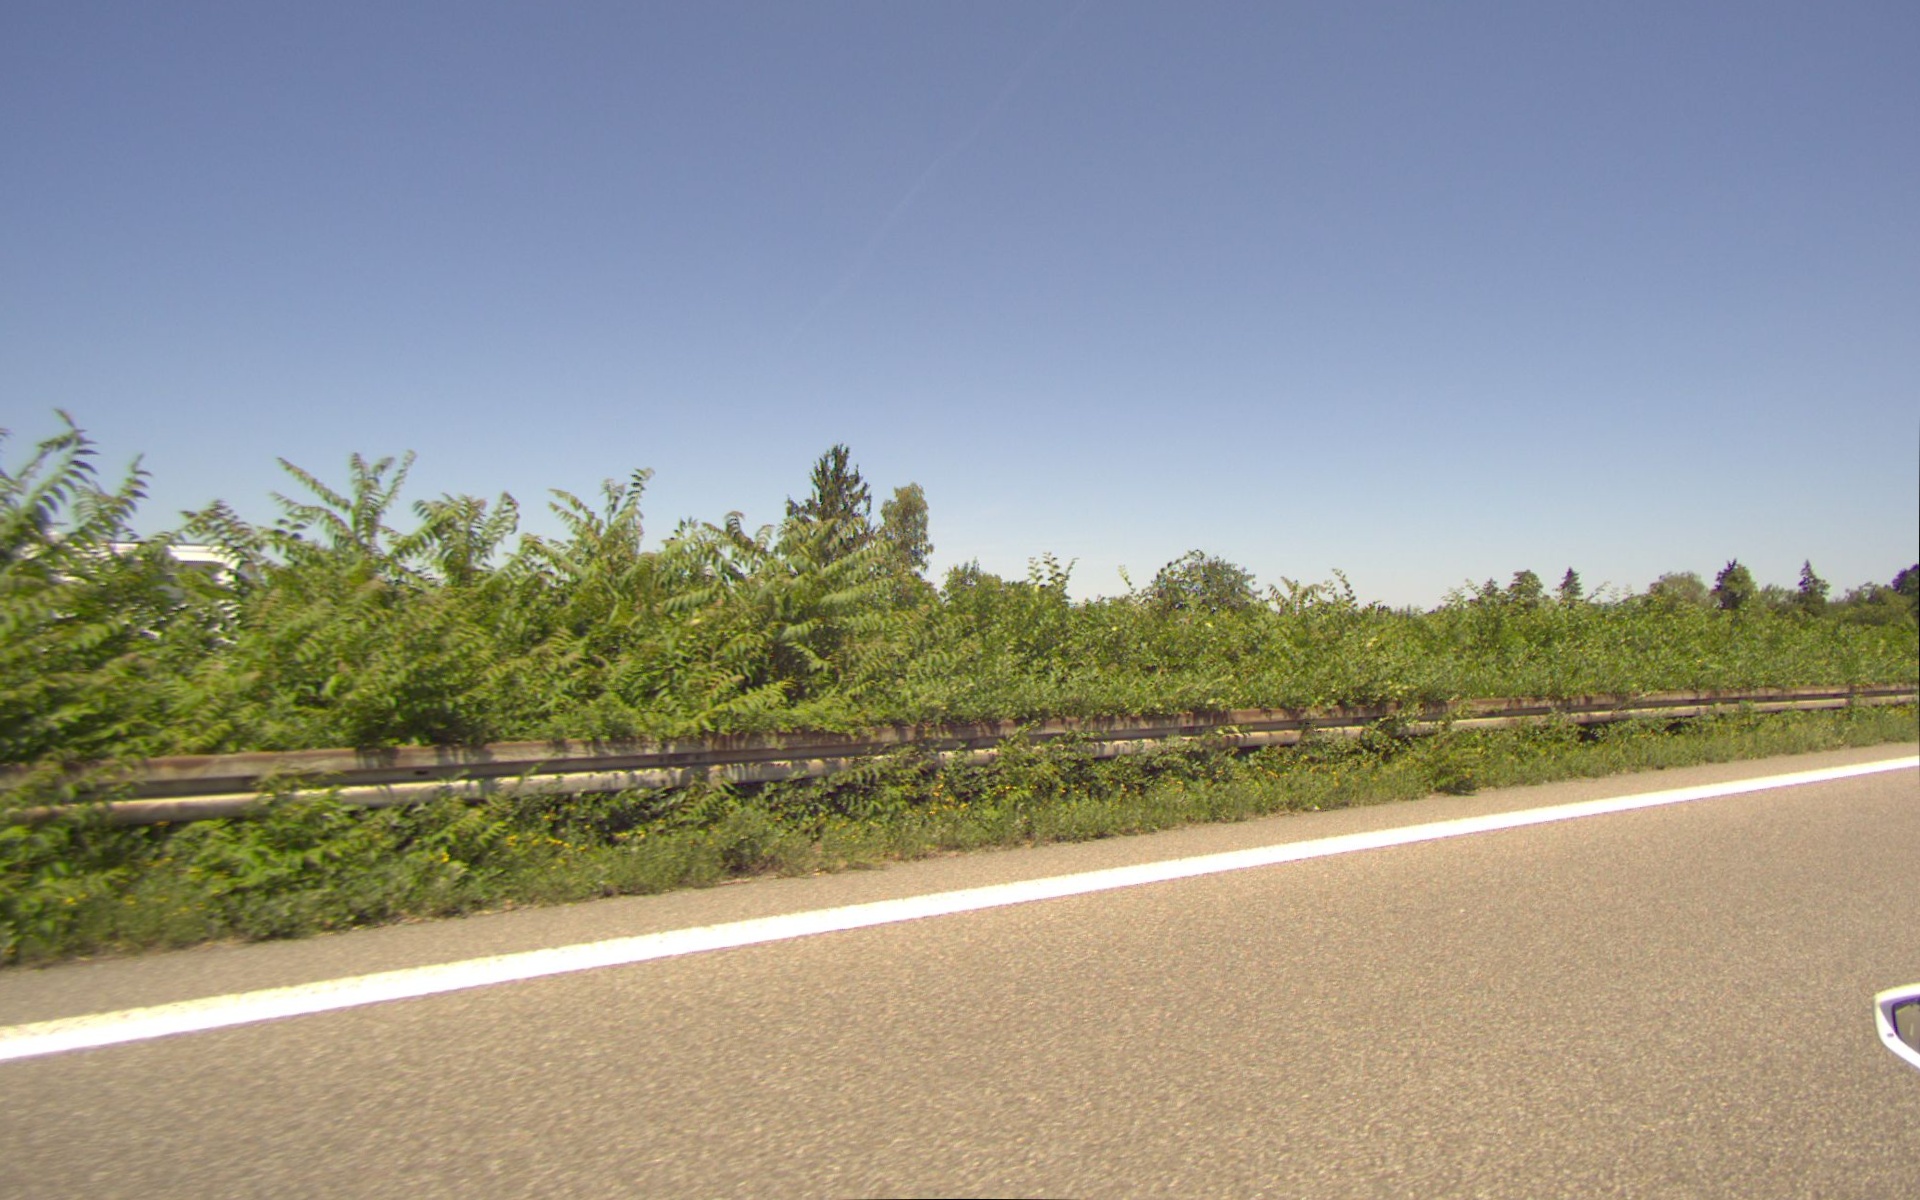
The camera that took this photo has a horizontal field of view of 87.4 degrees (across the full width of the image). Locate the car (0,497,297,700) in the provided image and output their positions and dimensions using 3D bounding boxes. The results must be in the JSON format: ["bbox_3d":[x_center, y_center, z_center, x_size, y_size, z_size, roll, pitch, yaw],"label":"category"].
[{"bbox_3d":[-13.206,-0.034,14.857,5.454,2.745,2.458,2,0,-30],"label":"car"}]
